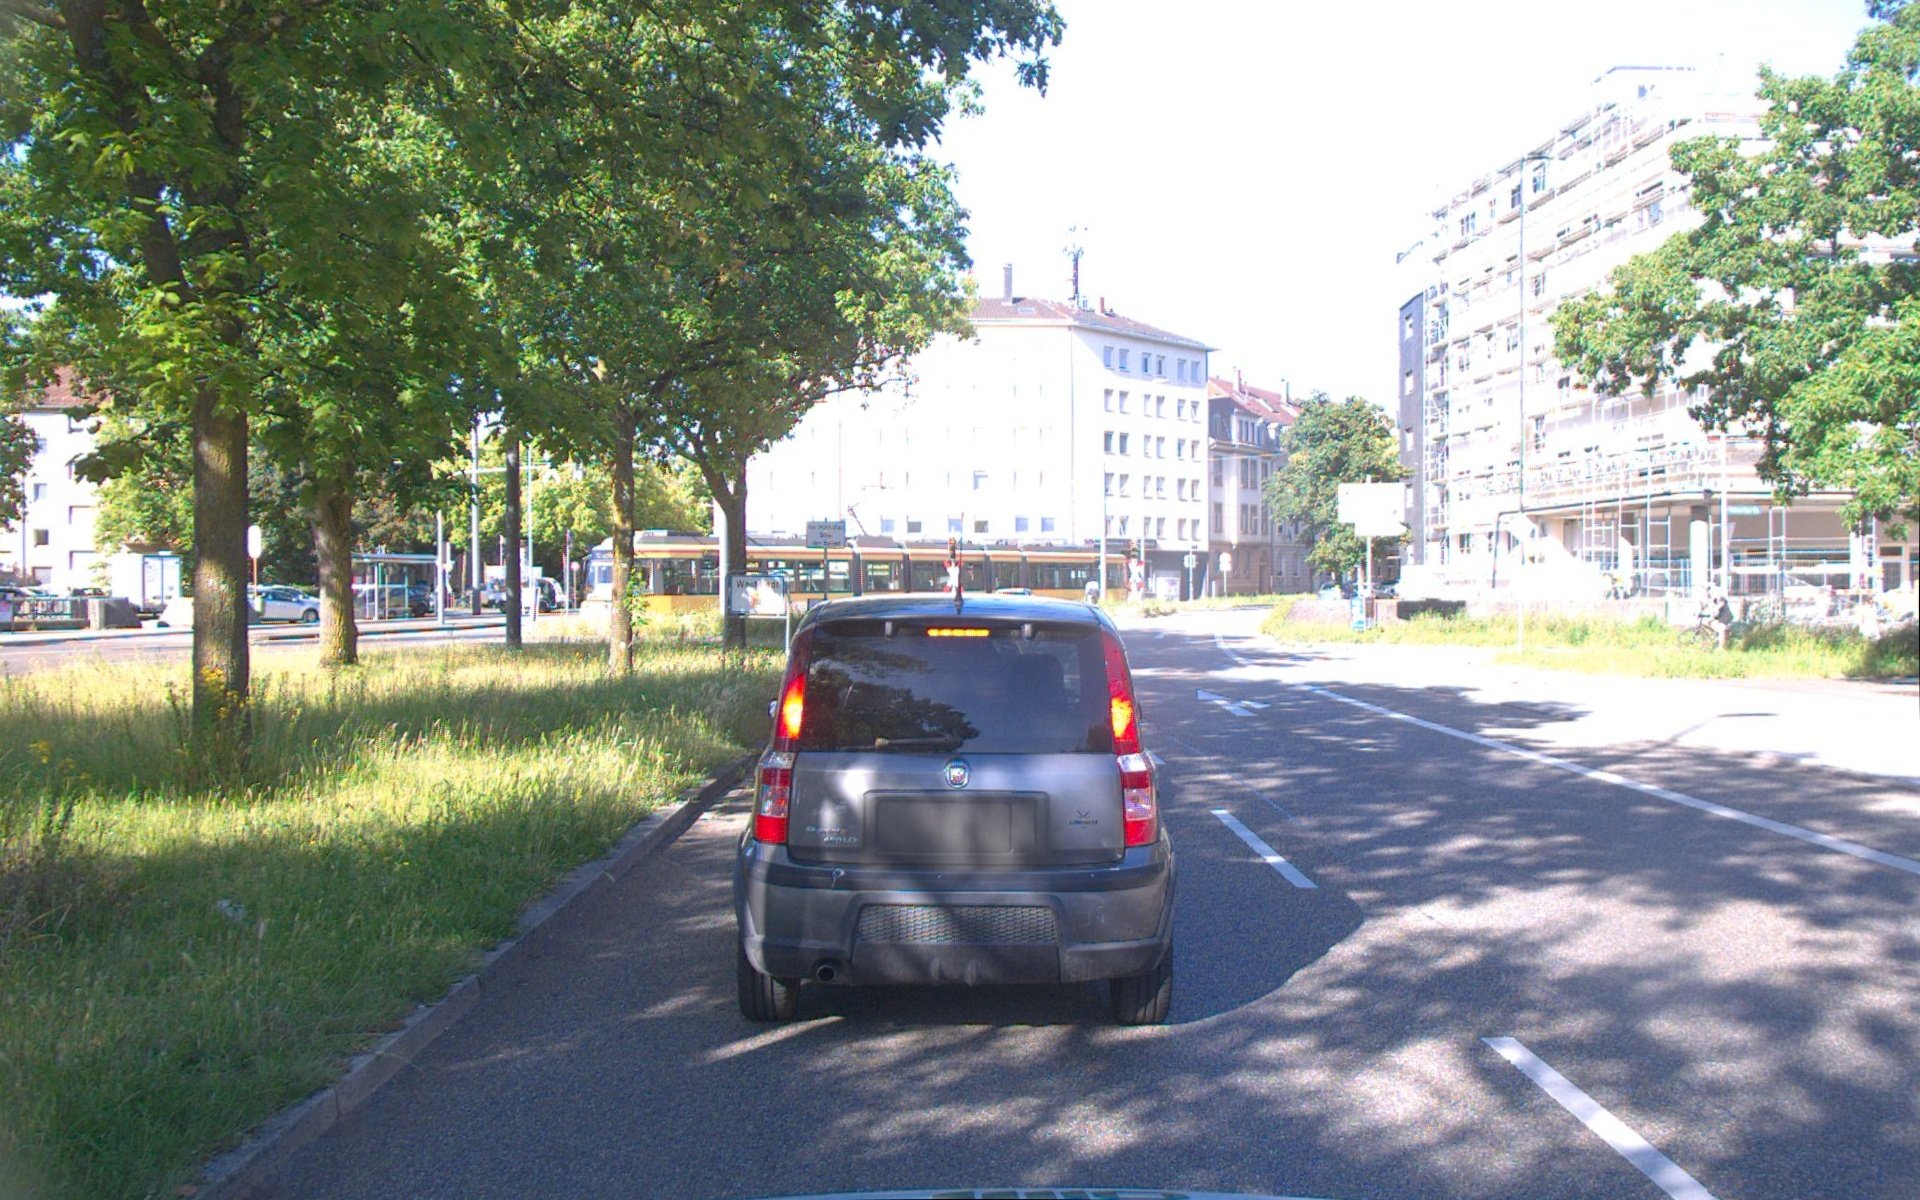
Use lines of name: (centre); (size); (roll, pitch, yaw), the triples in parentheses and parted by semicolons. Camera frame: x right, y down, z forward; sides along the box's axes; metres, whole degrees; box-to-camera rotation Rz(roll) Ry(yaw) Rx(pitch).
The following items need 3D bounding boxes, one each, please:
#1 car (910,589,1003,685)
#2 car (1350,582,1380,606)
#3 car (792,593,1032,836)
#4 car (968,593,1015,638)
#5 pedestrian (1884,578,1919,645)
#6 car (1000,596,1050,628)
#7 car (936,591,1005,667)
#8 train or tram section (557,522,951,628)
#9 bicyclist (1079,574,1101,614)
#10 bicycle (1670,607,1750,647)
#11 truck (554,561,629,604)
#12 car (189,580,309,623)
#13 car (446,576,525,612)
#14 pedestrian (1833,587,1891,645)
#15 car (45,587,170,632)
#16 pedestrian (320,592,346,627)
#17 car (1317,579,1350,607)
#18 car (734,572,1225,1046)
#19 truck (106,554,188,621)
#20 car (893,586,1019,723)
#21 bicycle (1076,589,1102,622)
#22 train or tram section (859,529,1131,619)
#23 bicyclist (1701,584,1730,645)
car: (-0.075, 0.562, 27.230); (1.434, 1.449, 3.381); (0, 1, -1)
car: (23.115, -0.330, 94.372); (1.495, 1.337, 3.289); (0, 1, 17)
car: (-0.312, 0.680, 11.619); (1.434, 1.425, 3.393); (0, 1, -1)
car: (0.922, 0.444, 49.597); (1.328, 1.304, 2.875); (0, 1, -1)
pedestrian: (24.515, 0.287, 42.569); (0.873, 1.682, 0.985); (0, 0, -12)
car: (2.288, 0.404, 57.693); (1.118, 1.083, 2.723); (0, 1, 17)
car: (0.182, 0.556, 33.851); (1.328, 1.475, 3.265); (0, 0, -1)
train or tram section: (-7.250, -0.962, 64.879); (3.239, 3.574, 19.317); (0, 1, 35)
bicyclist: (4.896, -0.225, 62.303); (0.726, 1.463, 0.845); (1, 0, -2)
bicycle: (18.772, 0.669, 41.404); (1.751, 0.961, 0.560); (0, 0, 14)
truck: (-28.360, -1.352, 127.356); (5.371, 3.224, 2.341); (0, 0, 28)
car: (-29.952, 0.047, 69.772); (1.961, 1.713, 4.302); (0, 1, 38)
car: (-27.969, -0.358, 97.542); (4.093, 2.049, 1.930); (0, 0, -3)
pedestrian: (23.161, 0.396, 42.480); (0.877, 1.472, 0.962); (0, 0, -15)
car: (-33.644, 0.356, 65.352); (1.961, 1.713, 3.983); (0, 1, 38)
pedestrian: (-29.314, 0.443, 77.299); (0.904, 1.636, 0.794); (0, 0, 38)
car: (20.506, -0.386, 90.705); (1.646, 1.475, 3.574); (0, 1, 15)
car: (0.038, 0.658, 7.403); (1.595, 1.534, 3.999); (0, 1, -1)
truck: (-35.742, -0.554, 72.677); (3.932, 2.854, 1.987); (0, 1, 44)
car: (-0.066, 0.603, 20.654); (1.434, 1.534, 3.504); (0, 1, -1)
bicycle: (4.877, 0.204, 62.562); (0.694, 1.219, 2.519); (1, 0, -2)
train or tram section: (2.358, -1.226, 79.680); (3.235, 3.836, 20.763); (0, 1, 31)
bicyclist: (18.880, 0.359, 41.344); (0.571, 1.519, 0.551); (0, 0, 14)
